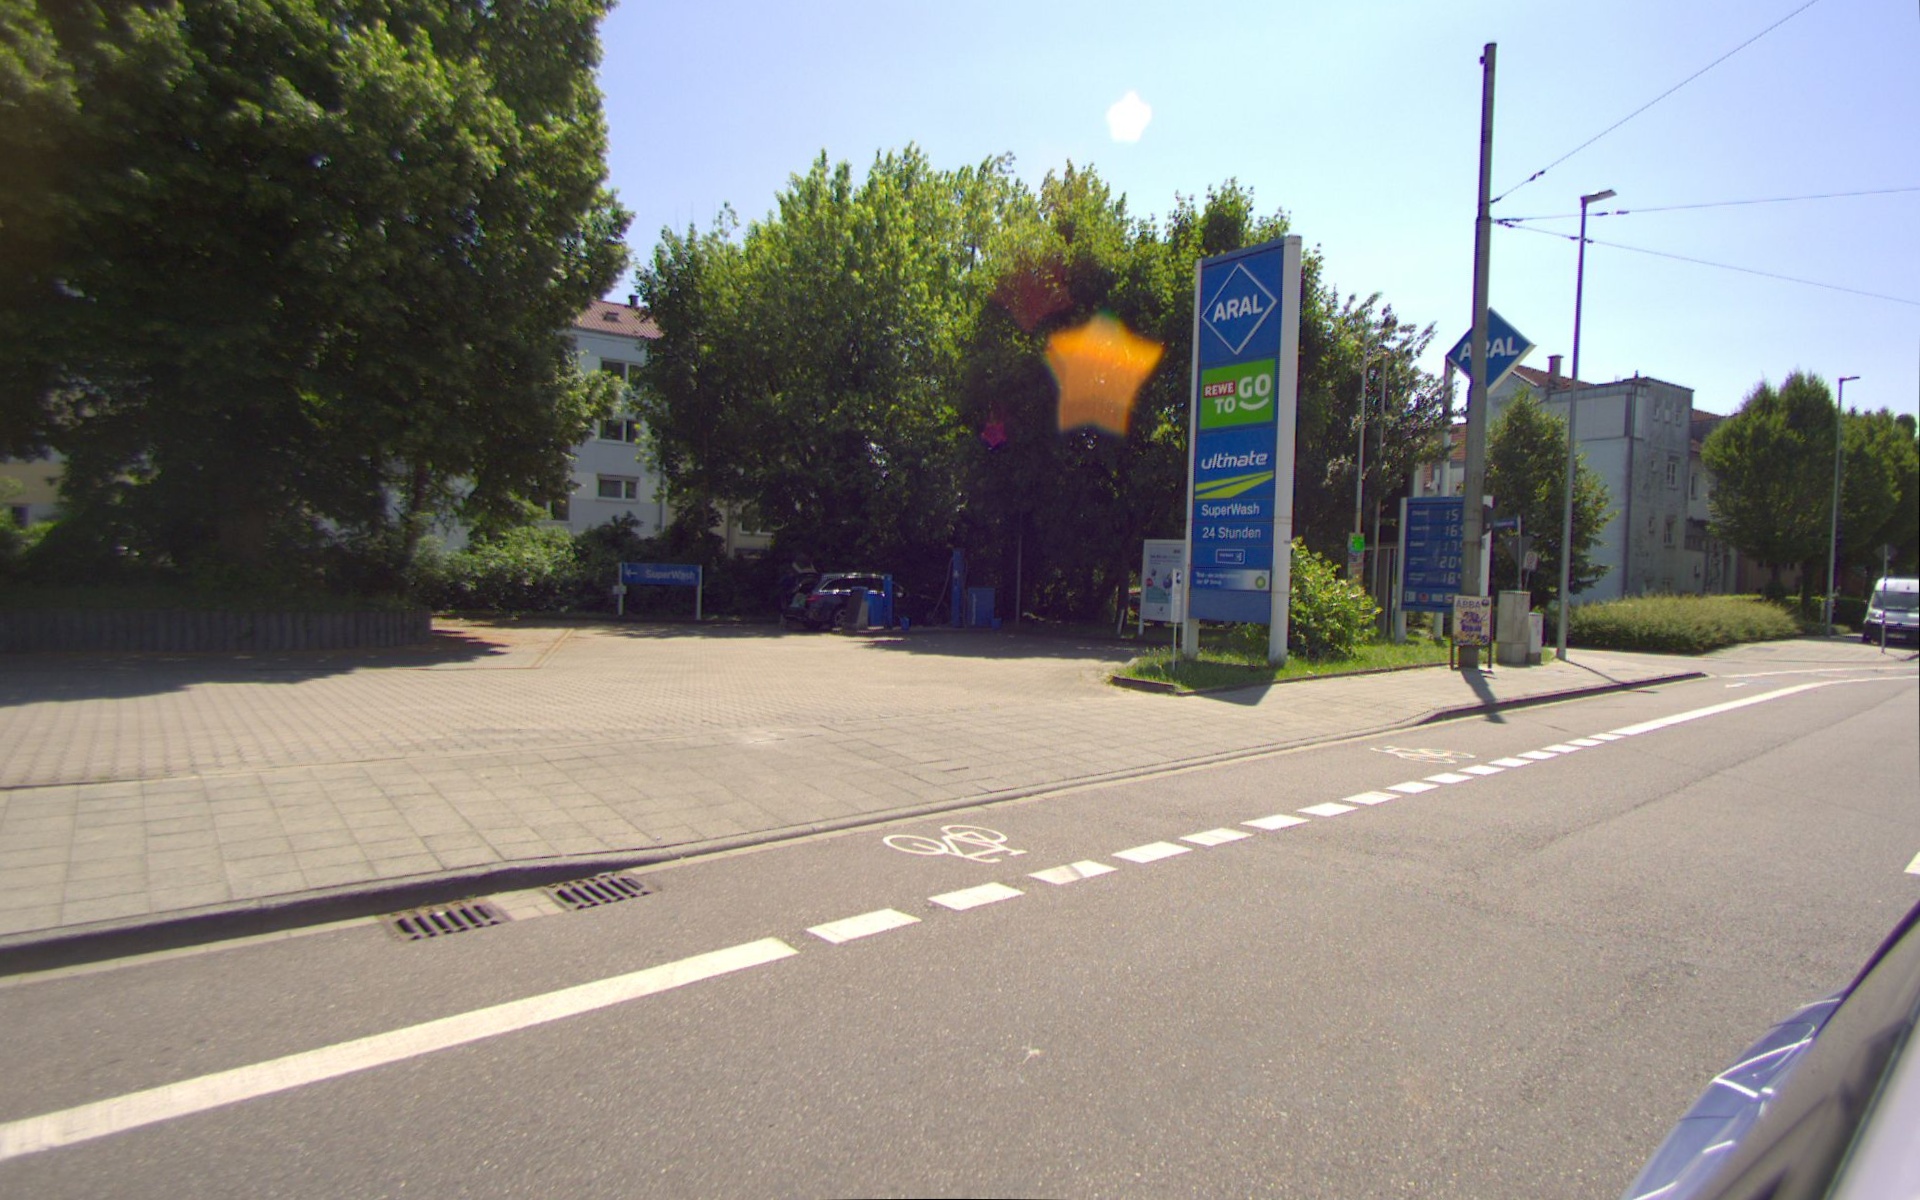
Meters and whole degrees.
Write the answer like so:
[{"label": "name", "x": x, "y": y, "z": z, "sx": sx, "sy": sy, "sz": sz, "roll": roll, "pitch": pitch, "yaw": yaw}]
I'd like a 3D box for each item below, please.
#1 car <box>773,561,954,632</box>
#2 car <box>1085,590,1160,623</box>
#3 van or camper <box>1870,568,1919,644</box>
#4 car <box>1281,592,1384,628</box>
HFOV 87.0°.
[{"label": "car", "x": -2.488, "y": -0.134, "z": 26.608, "sx": 4.328, "sy": 1.683, "sz": 2.000, "roll": -1, "pitch": 2, "yaw": -36}, {"label": "car", "x": 8.149, "y": 0.313, "z": 51.144, "sx": 1.806, "sy": 1.507, "sz": 4.009, "roll": 1, "pitch": 1, "yaw": -24}, {"label": "van or camper", "x": 35.010, "y": 0.248, "z": 36.788, "sx": 5.890, "sy": 2.513, "sz": 2.125, "roll": 0, "pitch": 4, "yaw": -42}, {"label": "car", "x": 17.707, "y": 0.445, "z": 48.261, "sx": 1.961, "sy": 1.539, "sz": 4.230, "roll": 1, "pitch": 2, "yaw": -33}]
